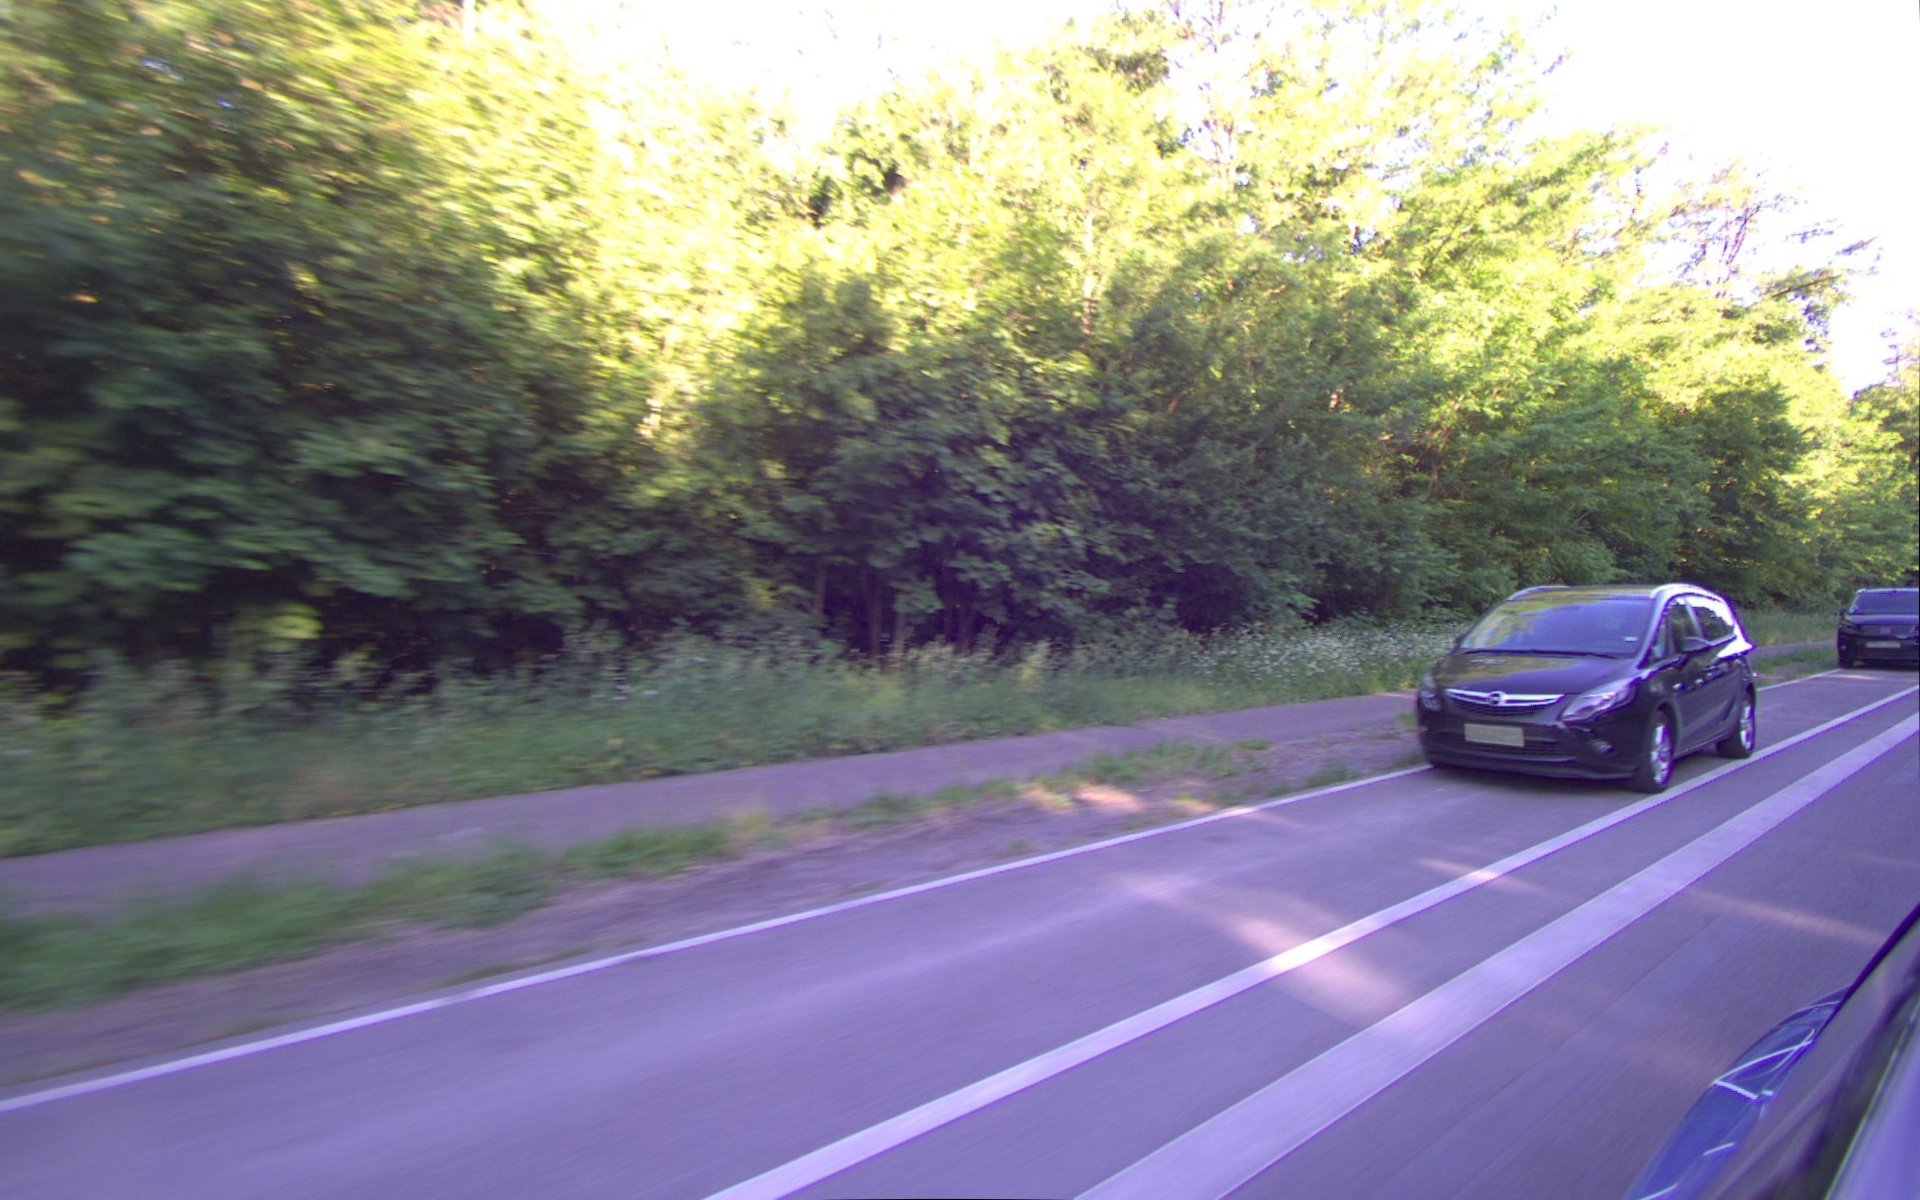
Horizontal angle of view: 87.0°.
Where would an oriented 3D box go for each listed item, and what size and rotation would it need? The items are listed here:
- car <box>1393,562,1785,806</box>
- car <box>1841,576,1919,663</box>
[{"bbox_3d":[5.926,0.560,9.287,4.521,1.712,1.802,-1,0,-41],"label":"car"},{"bbox_3d":[22.950,0.424,24.297,5.377,1.923,1.997,0,0,-41],"label":"car"}]
